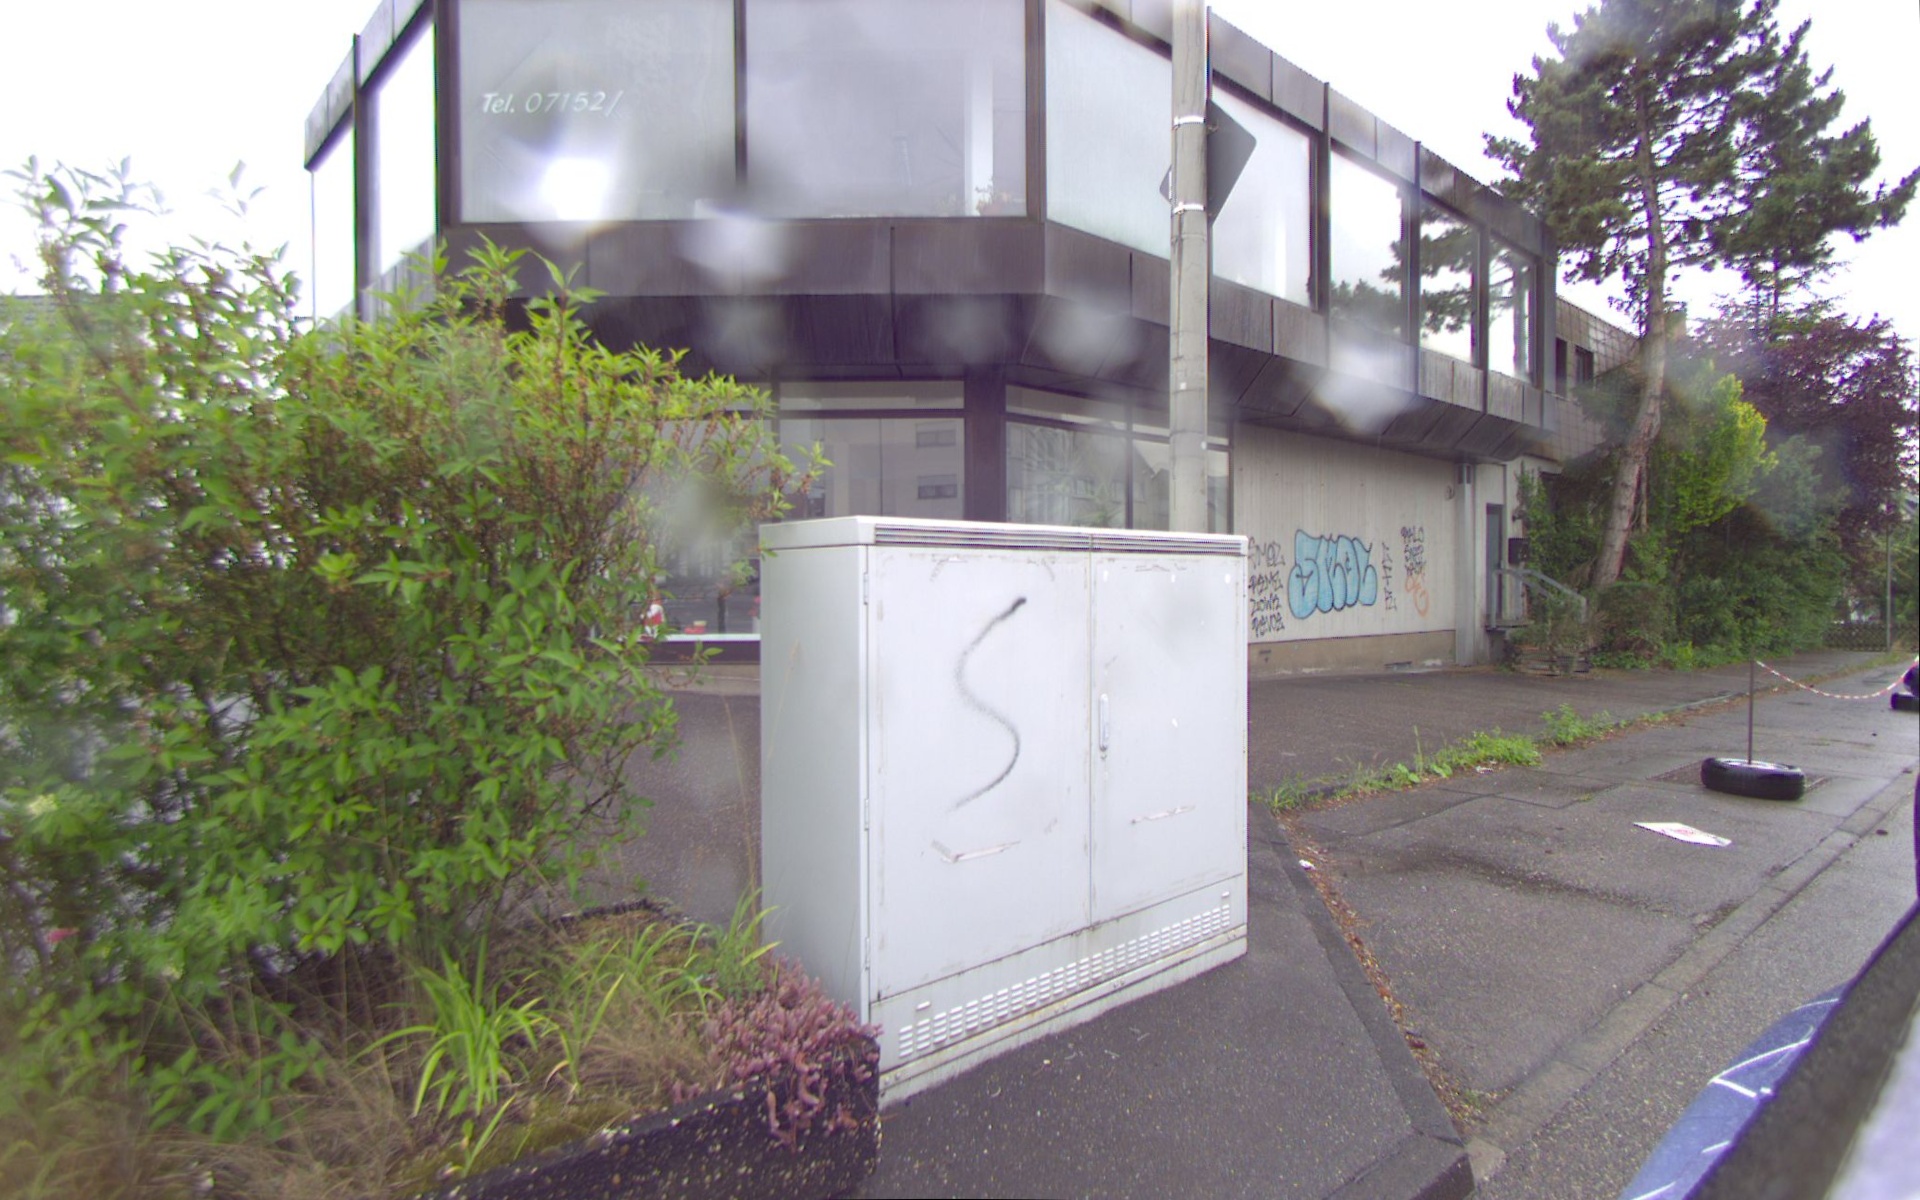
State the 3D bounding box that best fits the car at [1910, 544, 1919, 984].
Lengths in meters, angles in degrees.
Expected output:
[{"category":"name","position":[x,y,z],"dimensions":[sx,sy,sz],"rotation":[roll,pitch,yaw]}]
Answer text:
[{"category":"car","position":[5.701,0.579,4.451],"dimensions":[4.595,1.562,1.753],"rotation":[-1,1,-41]}]
